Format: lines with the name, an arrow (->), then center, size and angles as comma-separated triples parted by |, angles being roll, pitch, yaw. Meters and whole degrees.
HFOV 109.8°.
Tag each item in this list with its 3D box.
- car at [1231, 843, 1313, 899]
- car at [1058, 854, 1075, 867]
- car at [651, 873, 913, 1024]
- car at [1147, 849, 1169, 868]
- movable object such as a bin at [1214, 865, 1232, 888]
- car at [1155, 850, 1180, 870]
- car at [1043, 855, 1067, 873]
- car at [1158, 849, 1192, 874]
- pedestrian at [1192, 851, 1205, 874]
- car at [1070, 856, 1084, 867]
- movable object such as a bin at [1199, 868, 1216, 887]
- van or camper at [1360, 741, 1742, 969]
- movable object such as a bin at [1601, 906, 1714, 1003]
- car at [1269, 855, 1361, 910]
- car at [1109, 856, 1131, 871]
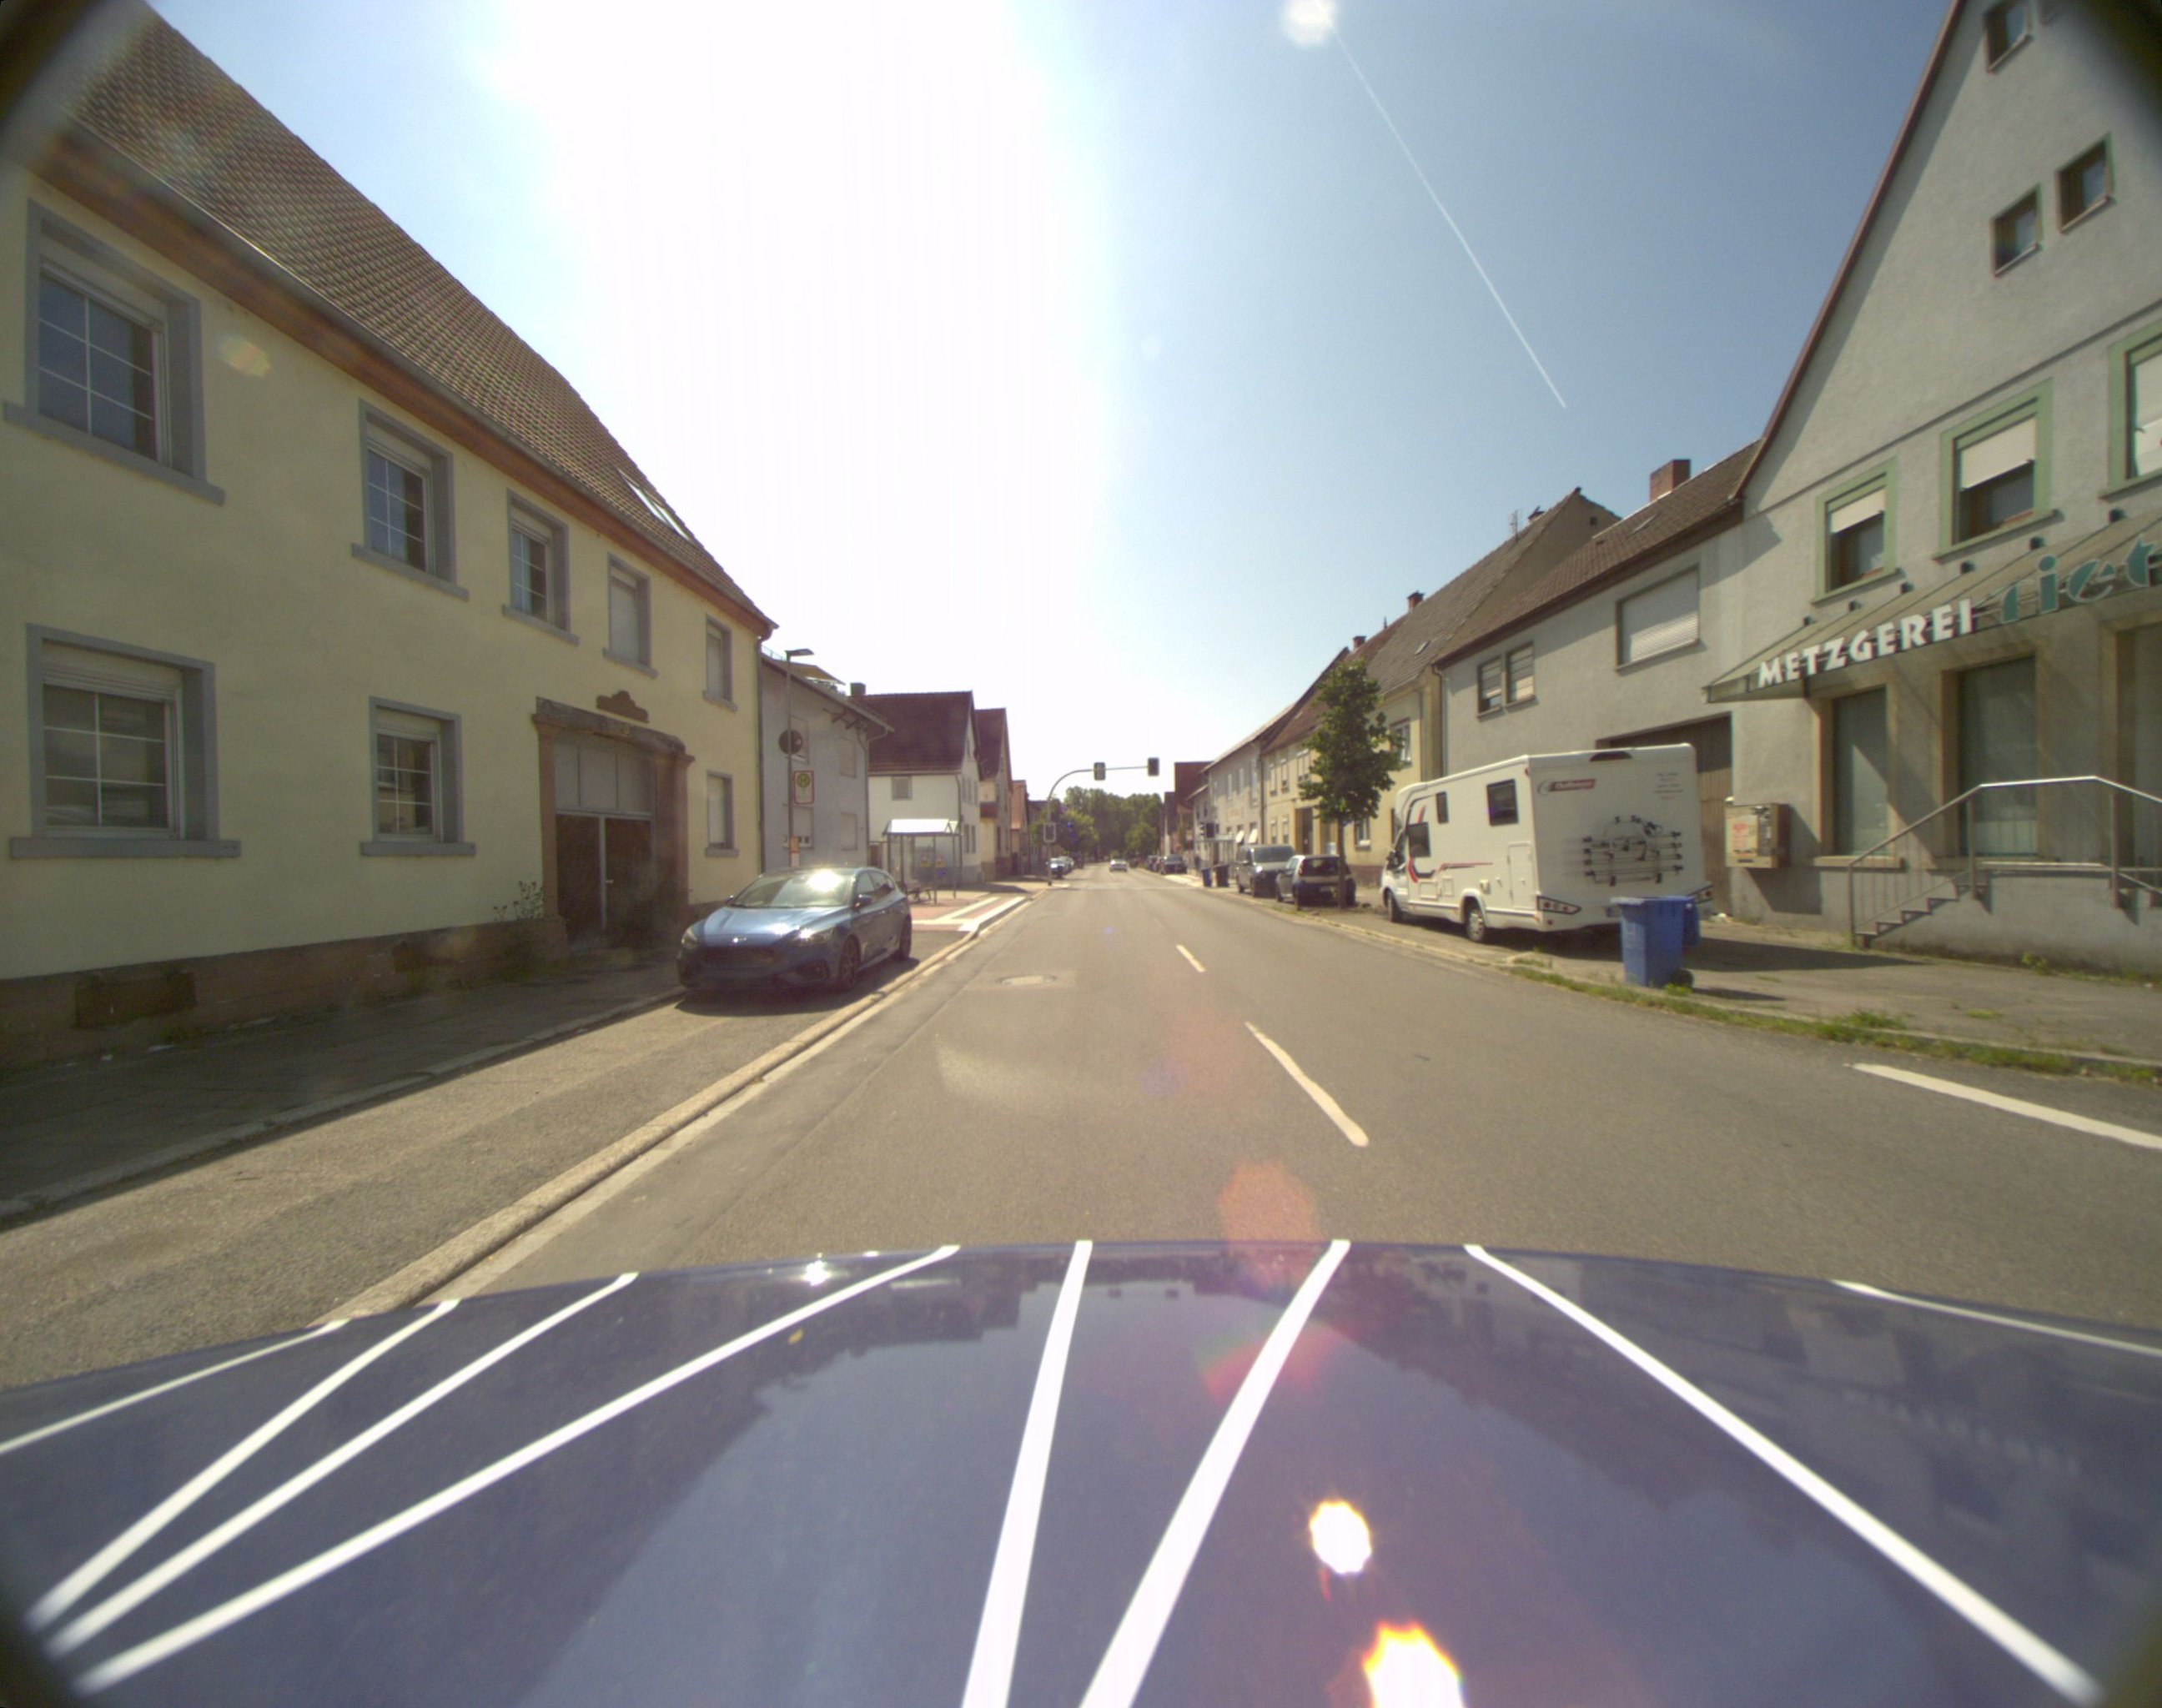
car -> 6.995, 0.578, 28.387 | 1.998, 1.837, 4.957 | -2, 0, 3
car -> -1.739, 0.824, 93.992 | 1.998, 1.477, 4.000 | -2, 0, 0
car -> -3.492, 1.013, 9.751 | 1.733, 1.419, 3.986 | -1, 0, 0
car -> 7.770, 0.456, 77.040 | 1.998, 1.837, 4.957 | -1, 0, 3
movable object such as a bin -> 6.741, 1.063, 36.087 | 0.718, 1.060, 0.550 | -2, 1, -1
car -> 8.136, 0.537, 71.775 | 1.998, 1.837, 4.957 | -1, 0, 3
car -> -2.355, 0.901, 70.193 | 1.998, 1.477, 4.000 | -2, 0, 0
car -> 7.583, 0.590, 61.970 | 2.355, 1.837, 4.957 | -1, 0, 3
pedestrian -> 7.883, 0.589, 51.061 | 0.752, 1.523, 0.581 | -2, 1, 0
car -> -0.550, 1.120, 114.661 | 1.998, 1.659, 4.000 | -2, 0, 0
movable object such as a bin -> 6.235, 1.163, 37.438 | 0.718, 0.907, 0.550 | -2, 1, -1
van or camper -> 7.366, 0.011, 13.350 | 2.451, 2.888, 7.068 | -2, 0, 2
movable object such as a bin -> 5.699, 0.976, 7.537 | 0.644, 0.867, 0.613 | -2, 0, 1
car -> 6.900, 0.798, 22.800 | 1.689, 1.474, 3.618 | -2, 0, 1
car -> 4.066, 0.982, 79.464 | 1.998, 1.521, 4.000 | -2, 0, 0
